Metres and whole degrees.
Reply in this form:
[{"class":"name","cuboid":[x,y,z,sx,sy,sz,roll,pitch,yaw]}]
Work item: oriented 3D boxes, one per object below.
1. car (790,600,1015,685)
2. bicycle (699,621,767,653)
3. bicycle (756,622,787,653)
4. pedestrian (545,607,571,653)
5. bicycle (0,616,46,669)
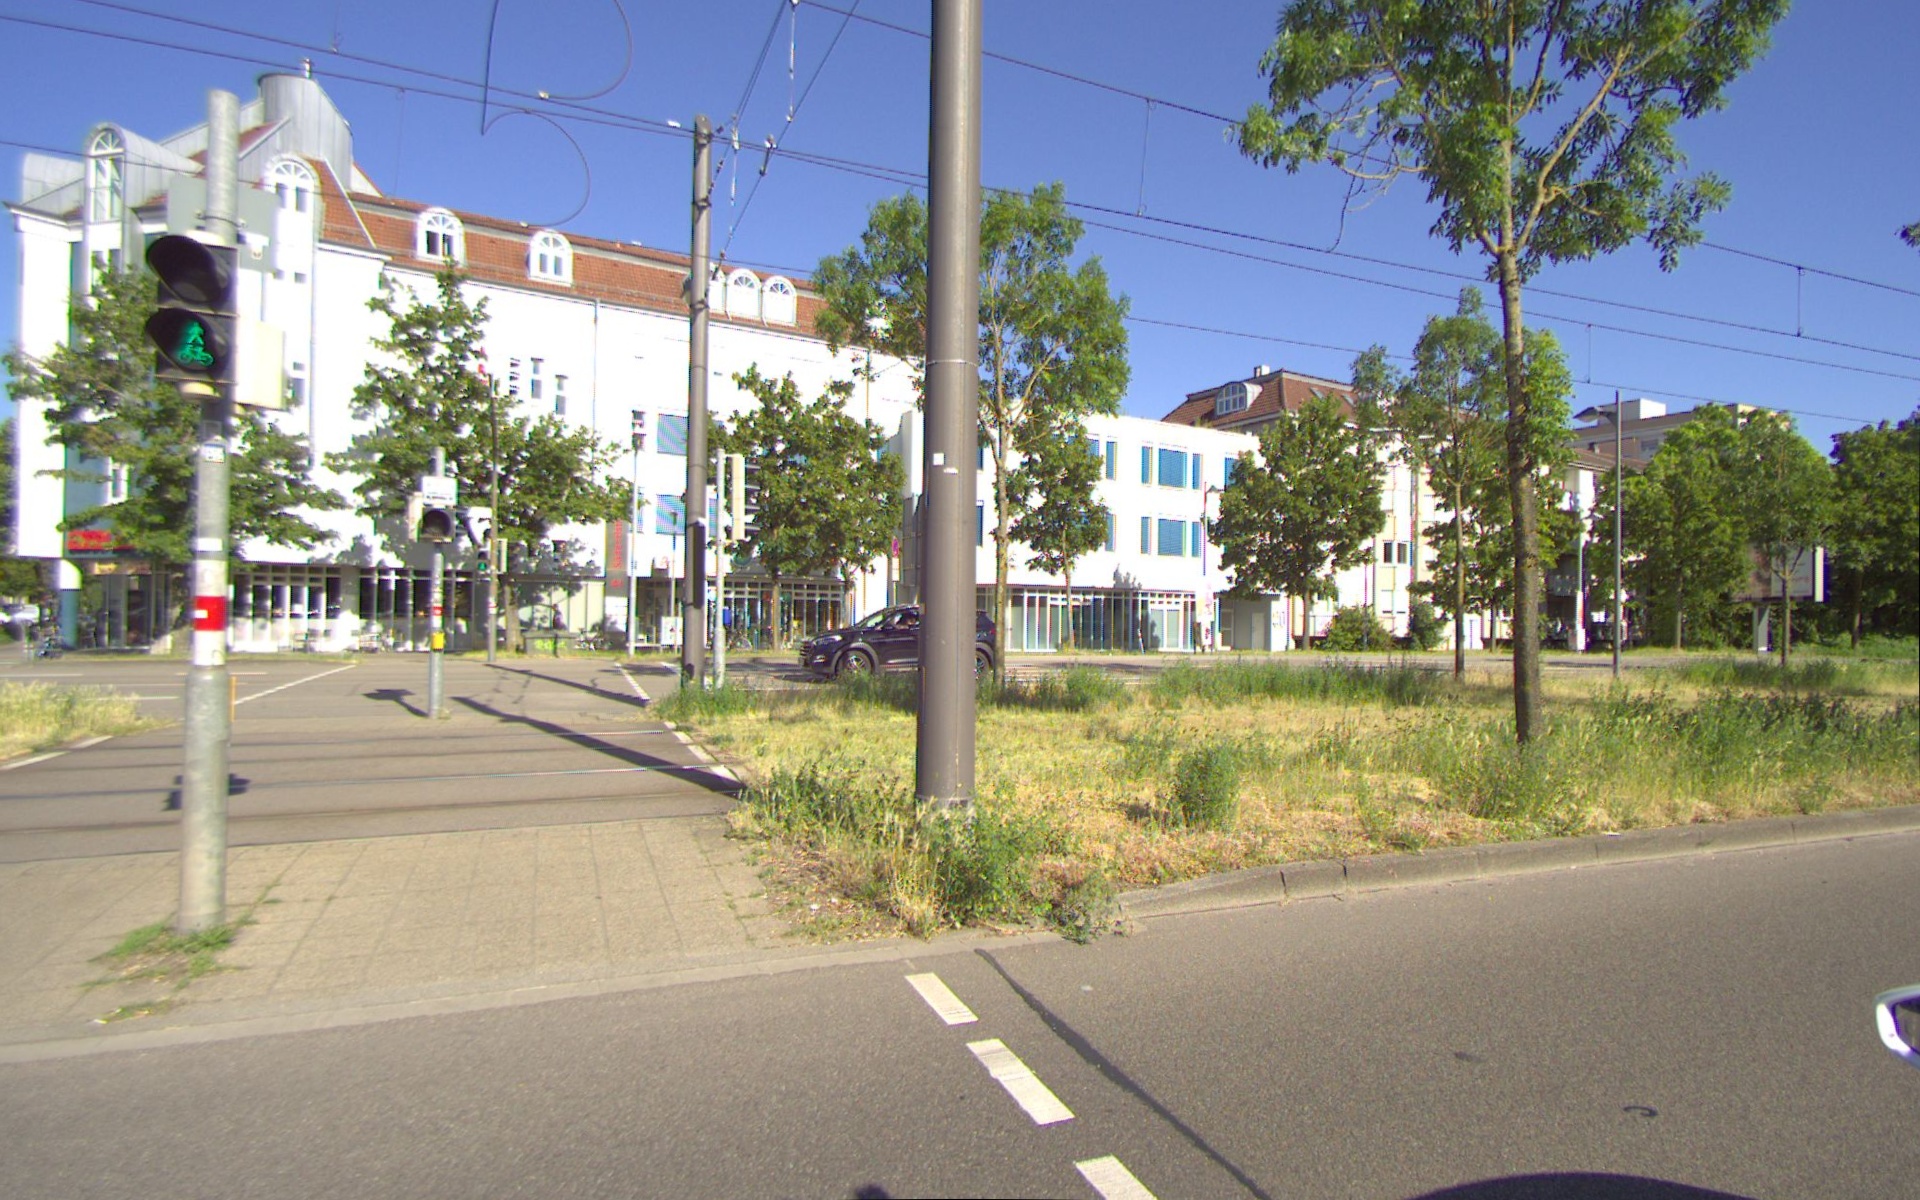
[{"class":"car","cuboid":[-1.218,0.868,21.414,4.426,1.662,1.815,1,0,-24]},{"class":"bicycle","cuboid":[-8.996,1.474,39.868,2.518,1.229,0.715,1,-1,-25]},{"class":"bicycle","cuboid":[-7.813,1.545,41.588,0.709,1.229,2.538,1,-1,-24]},{"class":"pedestrian","cuboid":[-15.024,1.110,37.542,0.771,1.713,0.797,1,-1,-30]},{"class":"bicycle","cuboid":[-22.350,0.963,23.430,0.773,1.174,2.564,1,-1,-25]}]
